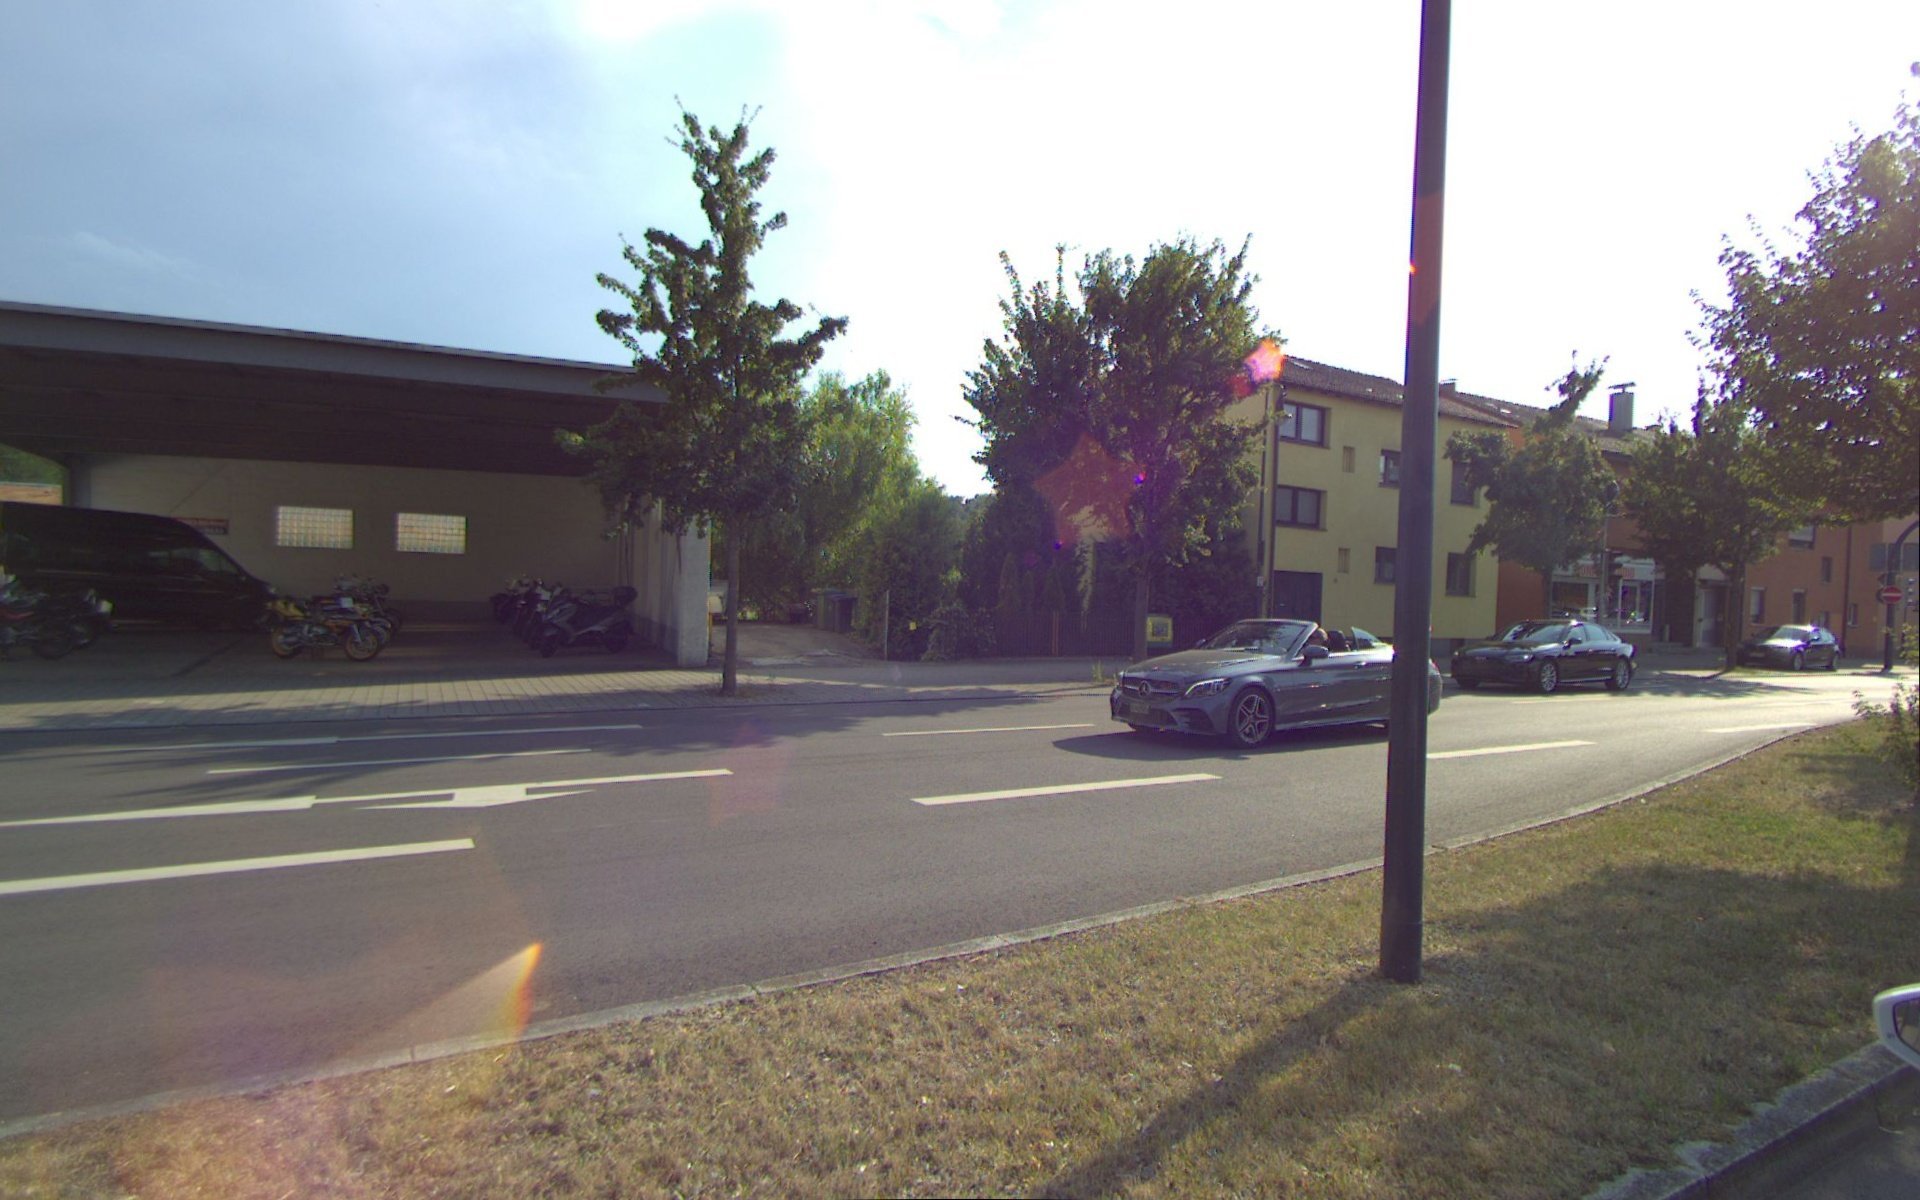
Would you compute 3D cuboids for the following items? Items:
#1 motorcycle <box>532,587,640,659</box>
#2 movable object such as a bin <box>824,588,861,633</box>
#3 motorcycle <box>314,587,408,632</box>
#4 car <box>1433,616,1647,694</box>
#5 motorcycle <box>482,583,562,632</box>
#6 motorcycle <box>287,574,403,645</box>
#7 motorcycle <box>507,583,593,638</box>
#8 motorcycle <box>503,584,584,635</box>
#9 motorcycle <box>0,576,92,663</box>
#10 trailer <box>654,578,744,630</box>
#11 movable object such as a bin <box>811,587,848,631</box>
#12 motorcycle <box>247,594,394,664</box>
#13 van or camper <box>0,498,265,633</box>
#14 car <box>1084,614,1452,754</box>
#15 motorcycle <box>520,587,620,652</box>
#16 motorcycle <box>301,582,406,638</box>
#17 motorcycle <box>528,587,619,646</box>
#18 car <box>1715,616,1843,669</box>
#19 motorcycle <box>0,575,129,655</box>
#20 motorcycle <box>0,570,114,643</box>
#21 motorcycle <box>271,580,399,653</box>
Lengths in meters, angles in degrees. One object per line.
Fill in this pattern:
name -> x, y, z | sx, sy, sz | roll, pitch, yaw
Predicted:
motorcycle -> -7.296, 0.432, 19.706 | 0.553, 1.325, 2.112 | 1, 0, 30
movable object such as a bin -> -2.998, 0.266, 25.639 | 0.688, 1.101, 0.727 | 1, 3, -30
motorcycle -> -15.696, 0.248, 26.331 | 2.111, 1.138, 0.563 | 1, 0, 0
car -> 12.151, 1.100, 20.966 | 4.590, 1.441, 1.834 | 1, 0, -30
motorcycle -> -12.171, 0.211, 27.978 | 0.553, 1.325, 2.086 | 1, 0, 30
motorcycle -> -13.326, 0.209, 21.795 | 2.111, 1.468, 0.594 | 1, 0, 0
motorcycle -> -10.306, 0.264, 25.331 | 0.573, 1.325, 2.086 | 1, 0, 30
motorcycle -> -11.229, 0.248, 27.143 | 0.553, 1.325, 2.086 | 1, 0, 30
motorcycle -> -14.899, 0.296, 15.639 | 0.659, 1.329, 2.000 | 2, 0, 37
trailer -> -6.735, 0.055, 26.222 | 1.692, 1.199, 3.594 | 1, 2, -5
movable object such as a bin -> -3.440, 0.236, 26.411 | 0.712, 1.101, 0.727 | 1, 3, -30
motorcycle -> -11.036, 0.496, 17.362 | 2.111, 1.139, 0.631 | 1, 0, 0
van or camper -> -19.077, -0.685, 22.868 | 1.963, 2.716, 5.033 | 1, 0, 26
car -> 3.782, 0.905, 12.071 | 4.429, 1.367, 1.770 | 1, 0, -32
motorcycle -> -8.358, 0.405, 21.618 | 0.553, 1.325, 2.086 | 1, 0, 30
motorcycle -> -14.487, 0.241, 24.024 | 2.111, 1.275, 0.647 | 1, 0, 0
motorcycle -> -9.149, 0.385, 23.869 | 0.612, 1.325, 2.086 | 1, 0, 30
car -> 27.287, 1.390, 33.462 | 3.949, 1.573, 1.836 | 1, 2, -28
motorcycle -> -15.889, 0.248, 17.575 | 0.637, 1.329, 2.007 | 1, 0, 23
motorcycle -> -17.284, 0.117, 18.901 | 0.637, 1.329, 2.007 | 1, 0, 23
motorcycle -> -12.176, 0.316, 19.593 | 2.111, 1.347, 0.563 | 1, 0, 0
